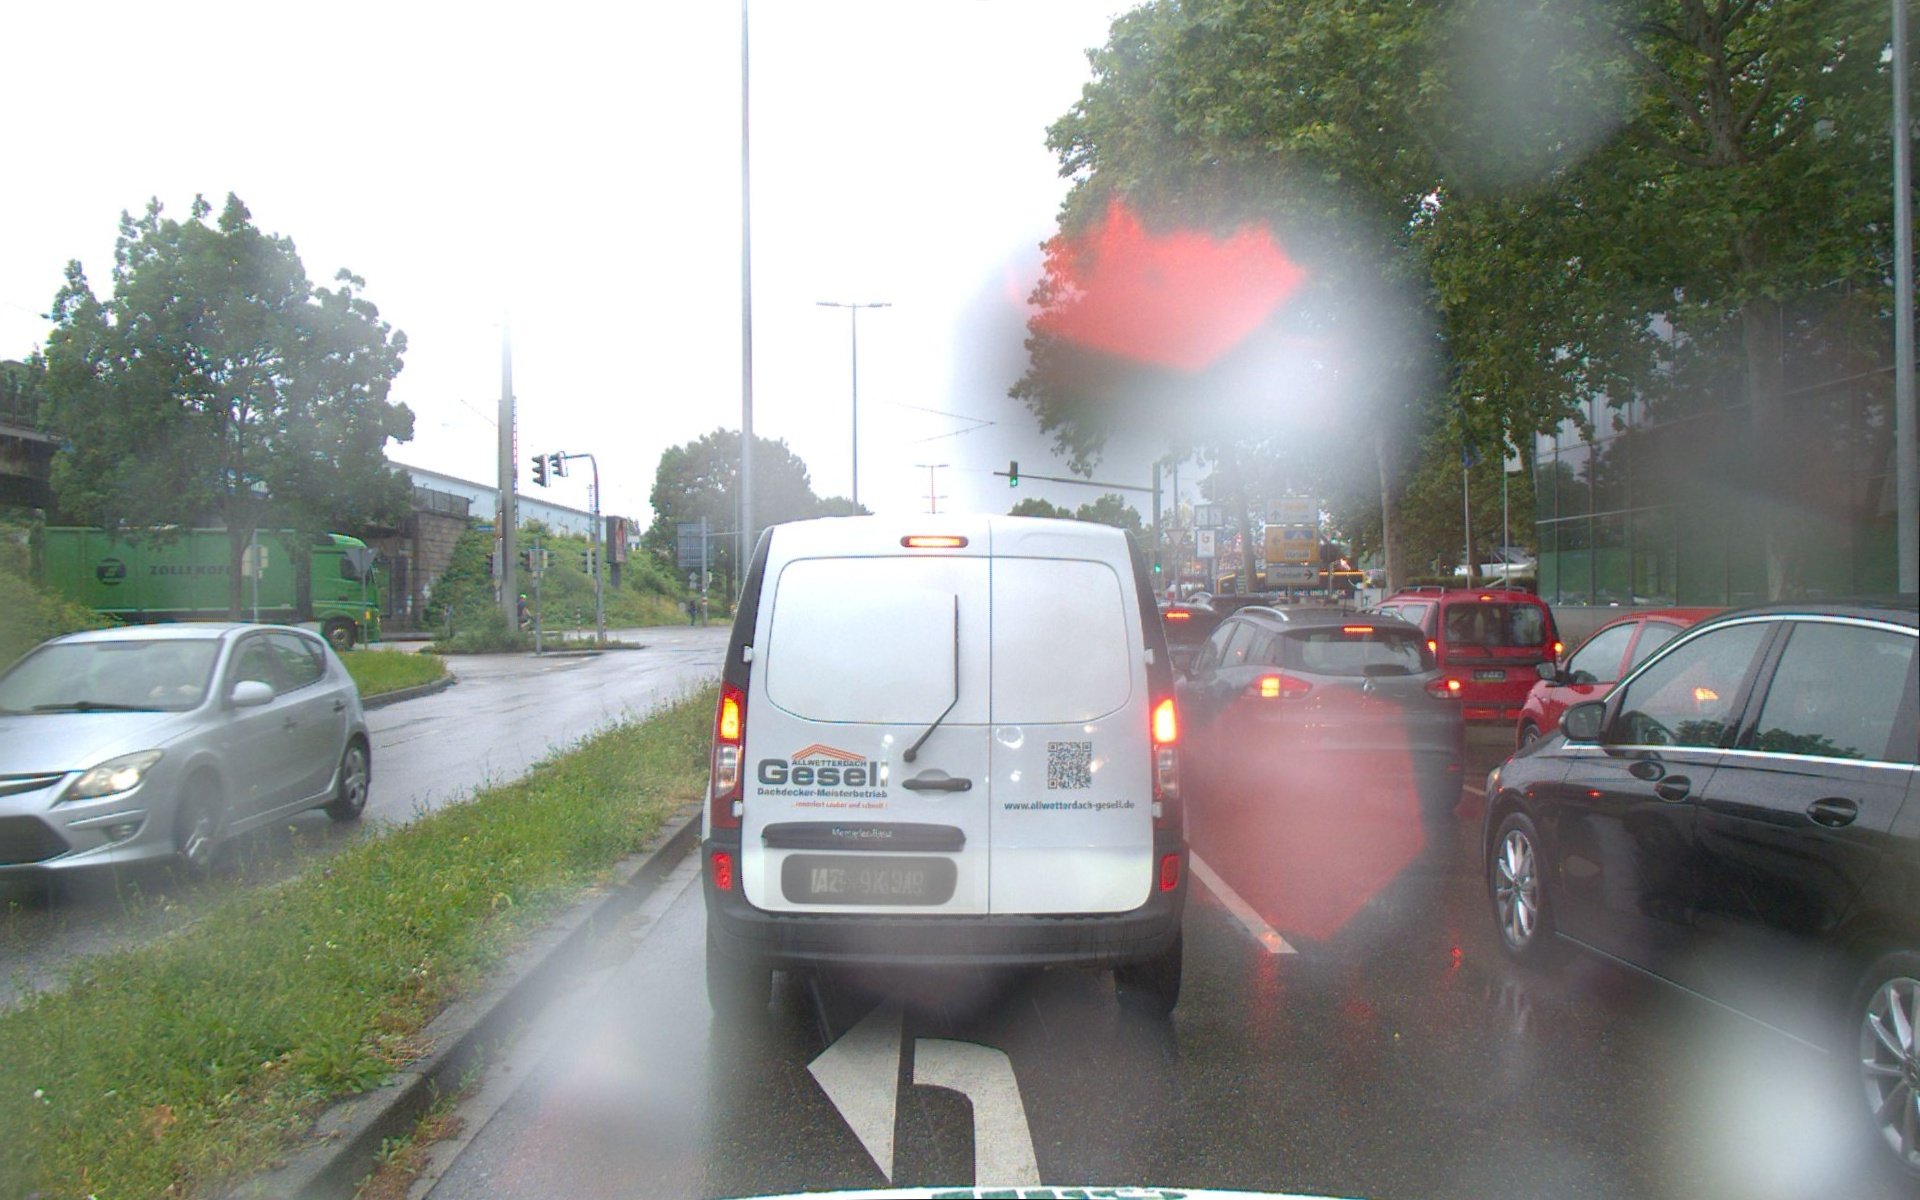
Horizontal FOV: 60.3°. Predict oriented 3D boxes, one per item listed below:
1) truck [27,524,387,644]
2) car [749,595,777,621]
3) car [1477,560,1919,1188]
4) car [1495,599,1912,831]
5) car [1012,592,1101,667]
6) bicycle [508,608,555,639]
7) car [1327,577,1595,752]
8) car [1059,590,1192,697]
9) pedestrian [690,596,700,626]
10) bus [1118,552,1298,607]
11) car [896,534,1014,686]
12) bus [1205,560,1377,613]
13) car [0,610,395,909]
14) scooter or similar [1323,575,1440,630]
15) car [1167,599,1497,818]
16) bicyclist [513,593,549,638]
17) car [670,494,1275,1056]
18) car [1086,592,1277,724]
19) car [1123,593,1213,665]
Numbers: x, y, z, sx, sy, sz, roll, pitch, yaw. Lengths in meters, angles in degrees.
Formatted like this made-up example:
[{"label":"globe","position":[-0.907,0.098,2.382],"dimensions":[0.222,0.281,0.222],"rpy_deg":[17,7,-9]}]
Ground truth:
[{"label":"truck","position":[-23.124,-0.499,51.314],"dimensions":[9.957,3.430,2.316],"rpy_deg":[0,0,-37]},{"label":"car","position":[-12.617,0.473,106.166],"dimensions":[1.439,1.586,3.507],"rpy_deg":[-1,1,-1]},{"label":"car","position":[3.244,0.692,5.437],"dimensions":[1.712,1.582,4.089],"rpy_deg":[0,0,-2]},{"label":"car","position":[5.401,0.750,12.486],"dimensions":[1.537,1.488,3.388],"rpy_deg":[0,0,-2]},{"label":"car","position":[2.226,0.661,38.947],"dimensions":[1.816,1.678,3.842],"rpy_deg":[0,0,-1]},{"label":"bicycle","position":[-14.361,0.764,55.329],"dimensions":[1.027,0.968,2.865],"rpy_deg":[-1,1,-25]},{"label":"car","position":[5.511,0.669,18.761],"dimensions":[1.676,1.724,4.271],"rpy_deg":[1,-1,-1]},{"label":"car","position":[2.730,0.682,28.069],"dimensions":[1.816,1.678,3.842],"rpy_deg":[0,0,-1]},{"label":"pedestrian","position":[-15.359,0.626,95.821],"dimensions":[0.532,1.746,0.563],"rpy_deg":[1,-1,-5]},{"label":"bus","position":[16.591,-1.394,111.142],"dimensions":[11.727,3.483,2.315],"rpy_deg":[-1,1,-1]},{"label":"car","position":[-0.104,0.142,27.419],"dimensions":[1.816,2.336,3.842],"rpy_deg":[0,0,-1]},{"label":"bus","position":[23.239,-0.949,116.106],"dimensions":[11.755,3.483,2.477],"rpy_deg":[-1,1,-11]},{"label":"car","position":[-5.172,0.864,10.581],"dimensions":[1.779,1.488,3.999],"rpy_deg":[-3,0,-2]},{"label":"scooter or similar","position":[19.666,0.102,77.351],"dimensions":[1.878,2.489,5.239],"rpy_deg":[0,0,-41]},{"label":"car","position":[2.766,0.737,13.133],"dimensions":[1.649,1.433,3.842],"rpy_deg":[1,0,-2]},{"label":"bicyclist","position":[-14.319,0.515,55.237],"dimensions":[1.028,1.475,0.723],"rpy_deg":[-1,1,-26]},{"label":"car","position":[0.011,0.544,7.632],"dimensions":[1.953,1.807,4.584],"rpy_deg":[0,0,-1]},{"label":"car","position":[2.659,0.650,20.653],"dimensions":[1.816,1.486,3.842],"rpy_deg":[0,0,-1]},{"label":"car","position":[5.131,0.693,41.206],"dimensions":[1.674,1.678,3.842],"rpy_deg":[1,0,-1]}]
